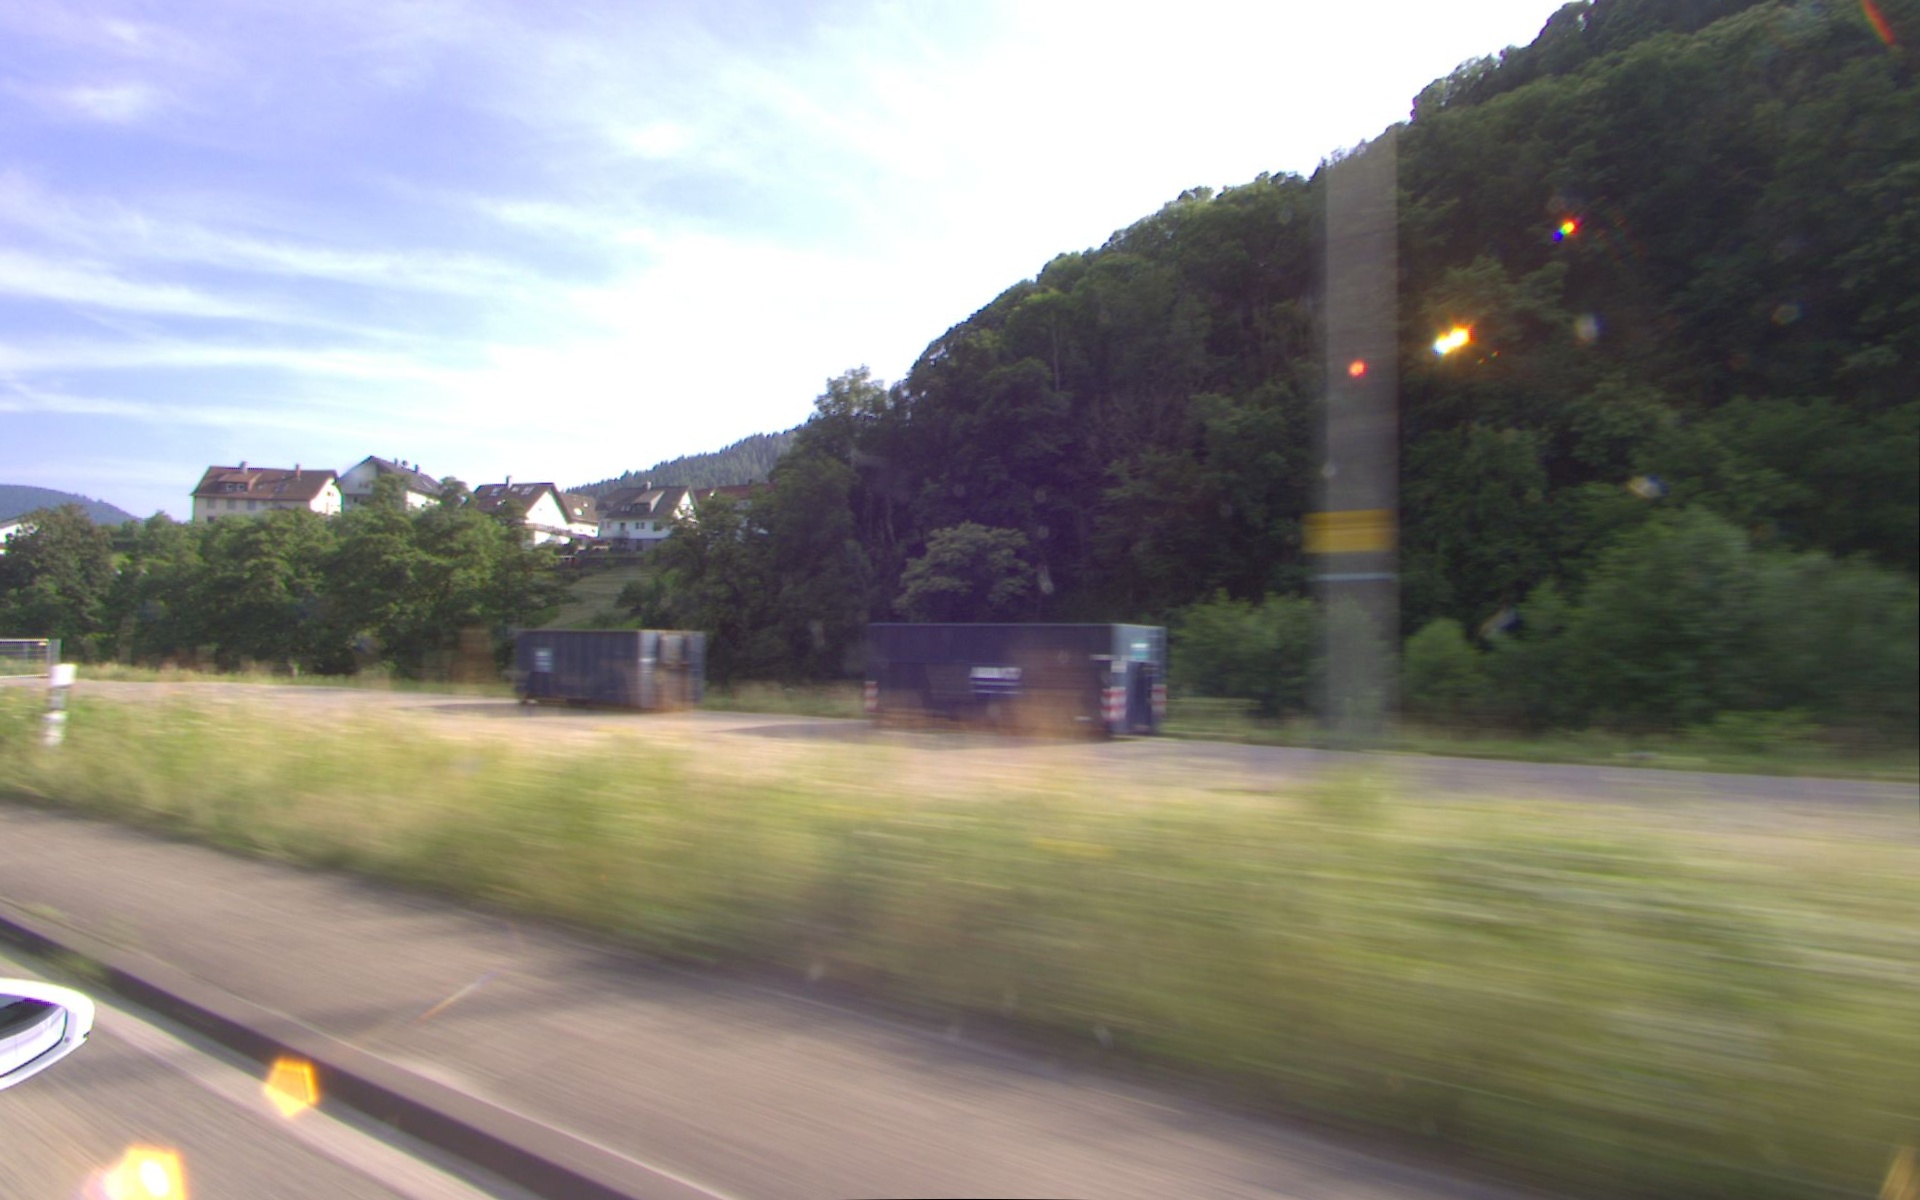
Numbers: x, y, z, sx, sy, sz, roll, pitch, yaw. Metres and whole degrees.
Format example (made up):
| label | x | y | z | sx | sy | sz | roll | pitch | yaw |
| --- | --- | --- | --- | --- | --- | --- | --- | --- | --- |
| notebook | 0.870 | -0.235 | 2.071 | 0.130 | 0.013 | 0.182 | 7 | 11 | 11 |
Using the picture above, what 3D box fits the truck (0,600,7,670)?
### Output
| label | x | y | z | sx | sy | sz | roll | pitch | yaw |
| --- | --- | --- | --- | --- | --- | --- | --- | --- | --- |
| truck | -57.055 | 1.818 | 55.664 | 8.507 | 3.827 | 3.105 | 0 | -4 | 27 |
